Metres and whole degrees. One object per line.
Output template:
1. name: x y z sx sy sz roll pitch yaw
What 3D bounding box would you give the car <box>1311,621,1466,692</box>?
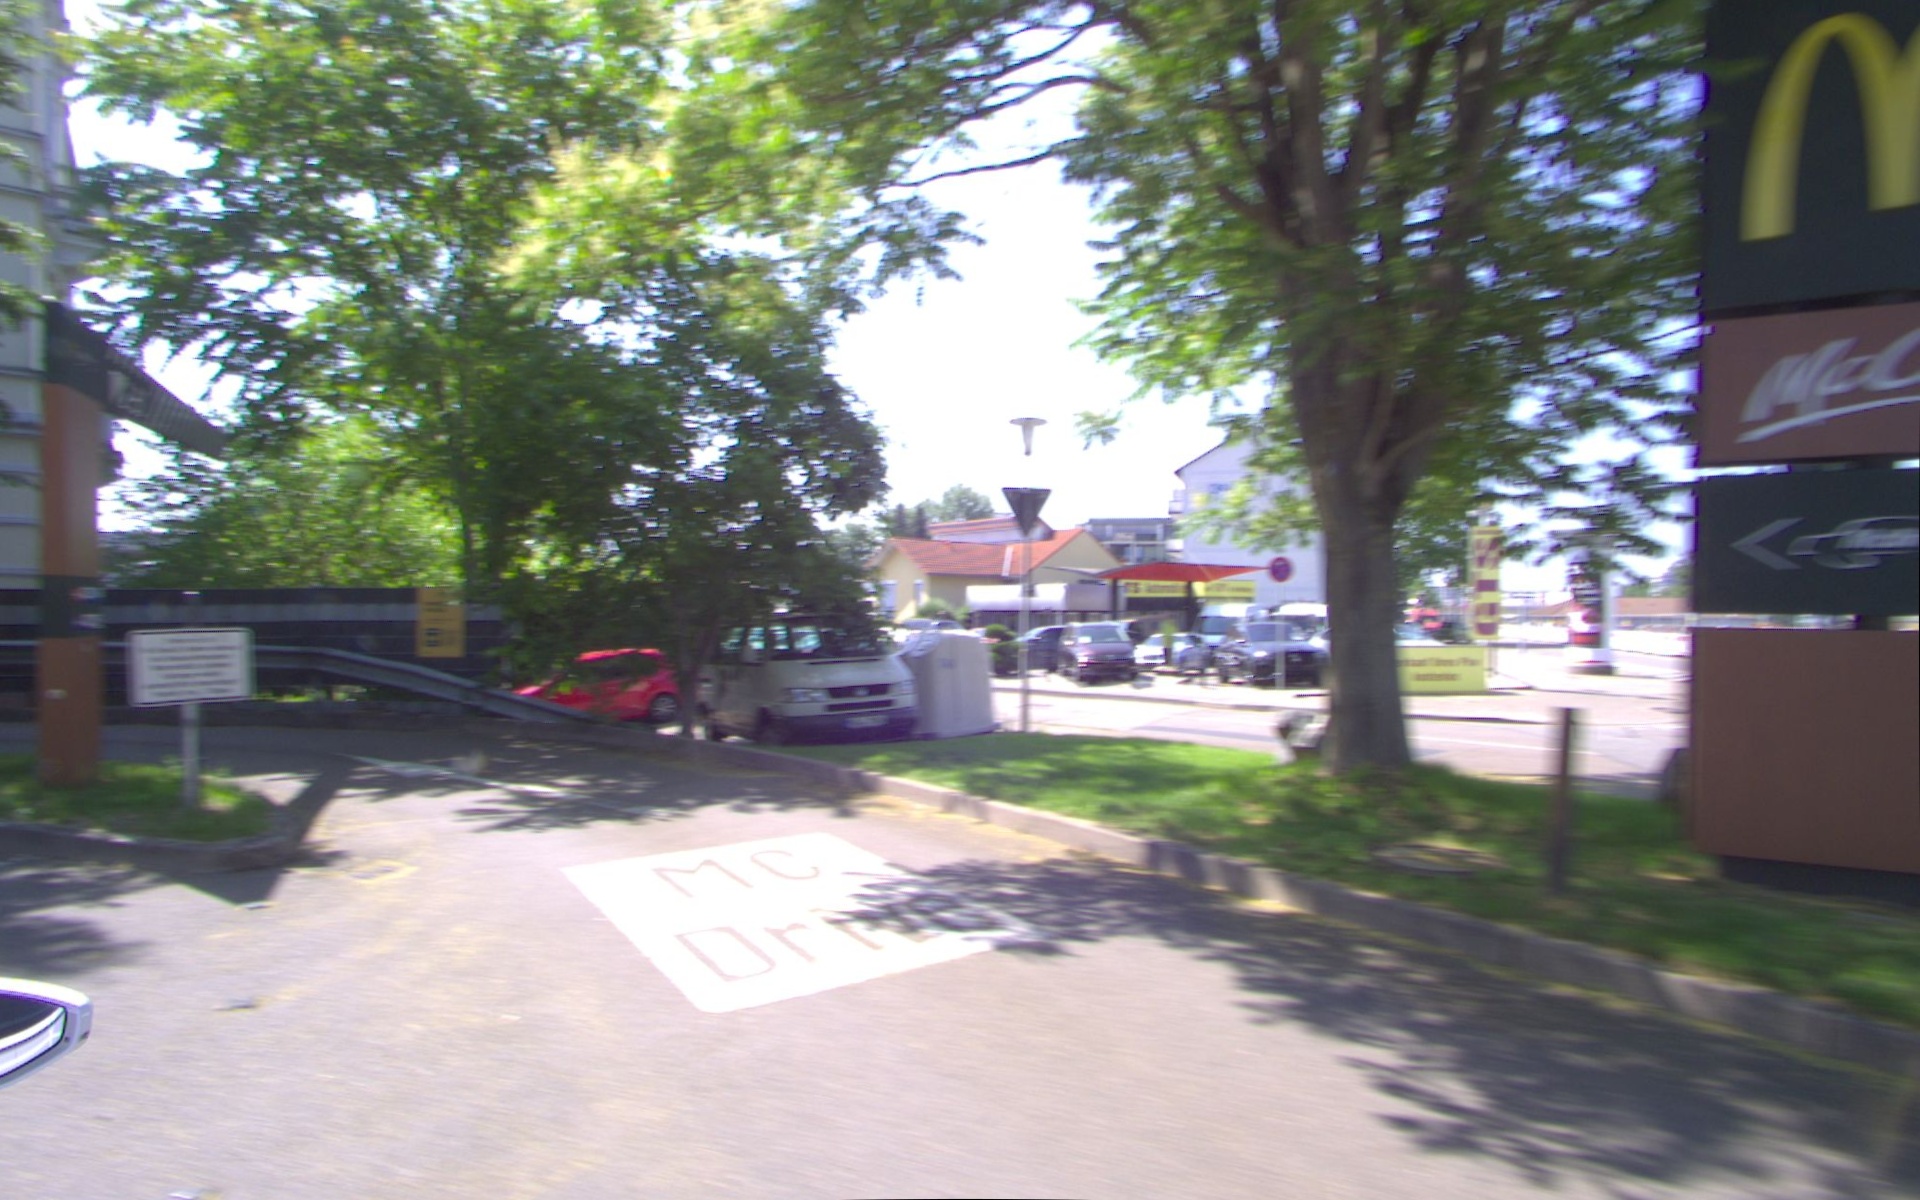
1. car: 11.530 1.468 27.272 1.963 1.747 3.998 2 -1 -11

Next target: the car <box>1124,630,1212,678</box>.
1. car: 7.266 1.843 34.702 1.767 1.506 3.982 1 -2 31

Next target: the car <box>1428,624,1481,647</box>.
1. car: 36.876 2.636 74.676 3.224 1.658 1.723 2 -1 -18

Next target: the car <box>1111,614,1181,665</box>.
1. car: 8.115 1.688 43.316 1.966 2.039 4.485 1 -2 24

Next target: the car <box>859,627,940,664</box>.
1. car: -2.860 2.109 46.888 1.975 1.605 3.972 2 -2 -35

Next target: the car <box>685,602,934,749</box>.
1. car: -2.285 0.873 13.709 1.928 1.604 5.010 2 -1 -26

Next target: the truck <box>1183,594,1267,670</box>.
1. truck: 11.342 1.331 42.512 2.239 2.941 5.924 2 -1 26

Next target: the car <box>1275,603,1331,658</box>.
1. car: 15.289 1.336 44.519 2.106 2.314 4.700 1 -1 22

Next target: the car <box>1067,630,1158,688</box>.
1. car: 4.561 1.690 29.498 1.763 1.529 3.992 1 -2 22

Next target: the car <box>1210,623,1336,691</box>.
1. car: 8.284 1.471 26.952 2.013 1.615 4.425 2 -1 1

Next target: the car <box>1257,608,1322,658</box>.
1. car: 12.891 1.279 38.989 1.852 1.760 4.709 2 -1 24

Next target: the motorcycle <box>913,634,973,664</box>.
1. motorcycle: -0.710 2.156 43.633 0.989 1.242 2.694 1 -2 45

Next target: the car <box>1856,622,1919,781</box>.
1. car: 11.498 1.054 8.911 1.964 1.666 5.025 1 -1 -14

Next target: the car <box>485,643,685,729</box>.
1. car: -7.217 1.591 19.371 3.372 1.397 1.475 1 1 -36

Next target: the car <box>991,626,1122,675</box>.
1. car: 3.458 1.806 36.226 4.257 1.605 1.998 2 -1 -14
